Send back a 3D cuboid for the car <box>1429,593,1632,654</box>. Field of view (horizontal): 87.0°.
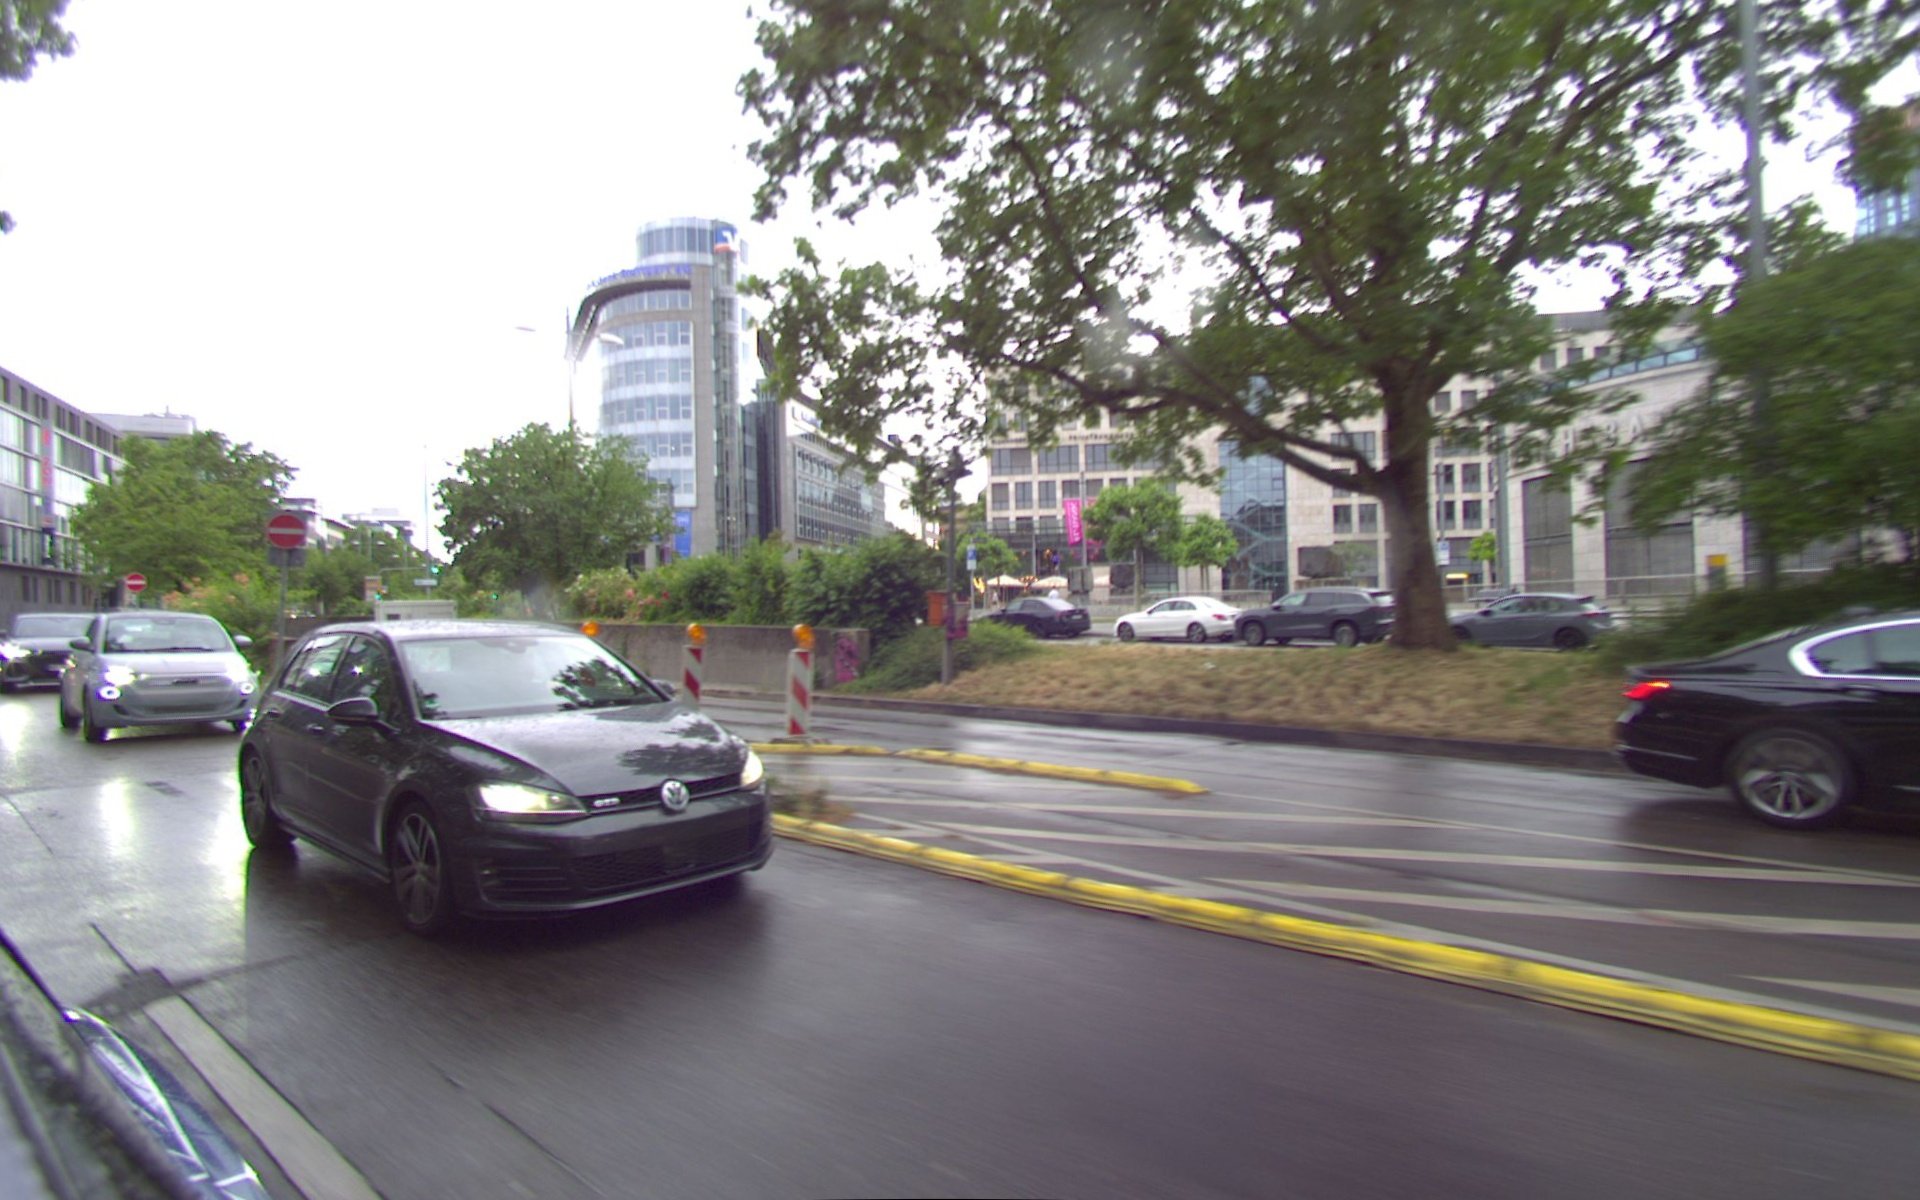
[{"bbox_3d":[14.113,0.547,25.213,1.819,1.392,4.047,-1,0,-41],"label":"car"}]

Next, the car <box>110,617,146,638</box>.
[{"bbox_3d":[-73.044,2.408,88.936,1.966,1.757,3.920,-1,0,-33],"label":"car"}]

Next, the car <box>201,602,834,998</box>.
[{"bbox_3d":[-2.782,0.795,5.866,4.121,1.463,1.766,-1,0,41],"label":"car"}]

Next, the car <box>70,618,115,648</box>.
[{"bbox_3d":[-54.659,2.046,63.828,1.968,1.757,3.917,-1,0,-39],"label":"car"}]

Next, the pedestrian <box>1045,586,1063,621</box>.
[{"bbox_3d":[4.469,0.171,48.119,0.570,1.639,0.563,0,0,-43],"label":"pedestrian"}]

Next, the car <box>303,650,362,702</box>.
[{"bbox_3d":[-23.461,2.799,37.936,1.752,1.608,4.012,-1,0,-31],"label":"car"}]

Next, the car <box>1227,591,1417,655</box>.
[{"bbox_3d":[10.198,0.603,28.783,1.970,1.664,4.731,-1,0,-44],"label":"car"}]

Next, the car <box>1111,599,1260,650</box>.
[{"bbox_3d":[7.306,0.752,33.095,1.983,1.545,4.441,-1,0,-43],"label":"car"}]

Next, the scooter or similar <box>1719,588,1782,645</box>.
[{"bbox_3d":[17.928,0.362,22.946,1.405,1.194,0.583,-3,1,-28],"label":"scooter or similar"}]

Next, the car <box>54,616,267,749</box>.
[{"bbox_3d":[-10.215,0.948,12.850,3.494,1.452,1.590,-1,-2,43],"label":"car"}]

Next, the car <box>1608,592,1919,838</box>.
[{"bbox_3d":[7.075,0.686,6.251,1.851,1.490,4.881,-1,0,-44],"label":"car"}]

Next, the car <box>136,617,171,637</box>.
[{"bbox_3d":[-77.954,2.589,97.902,1.966,1.757,3.922,-1,0,-29],"label":"car"}]

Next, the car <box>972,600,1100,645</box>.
[{"bbox_3d":[2.777,0.804,37.966,1.983,1.545,4.716,-1,0,-43],"label":"car"}]

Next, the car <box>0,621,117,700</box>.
[{"bbox_3d":[-18.559,1.176,20.684,3.495,1.452,1.693,-2,-2,44],"label":"car"}]
